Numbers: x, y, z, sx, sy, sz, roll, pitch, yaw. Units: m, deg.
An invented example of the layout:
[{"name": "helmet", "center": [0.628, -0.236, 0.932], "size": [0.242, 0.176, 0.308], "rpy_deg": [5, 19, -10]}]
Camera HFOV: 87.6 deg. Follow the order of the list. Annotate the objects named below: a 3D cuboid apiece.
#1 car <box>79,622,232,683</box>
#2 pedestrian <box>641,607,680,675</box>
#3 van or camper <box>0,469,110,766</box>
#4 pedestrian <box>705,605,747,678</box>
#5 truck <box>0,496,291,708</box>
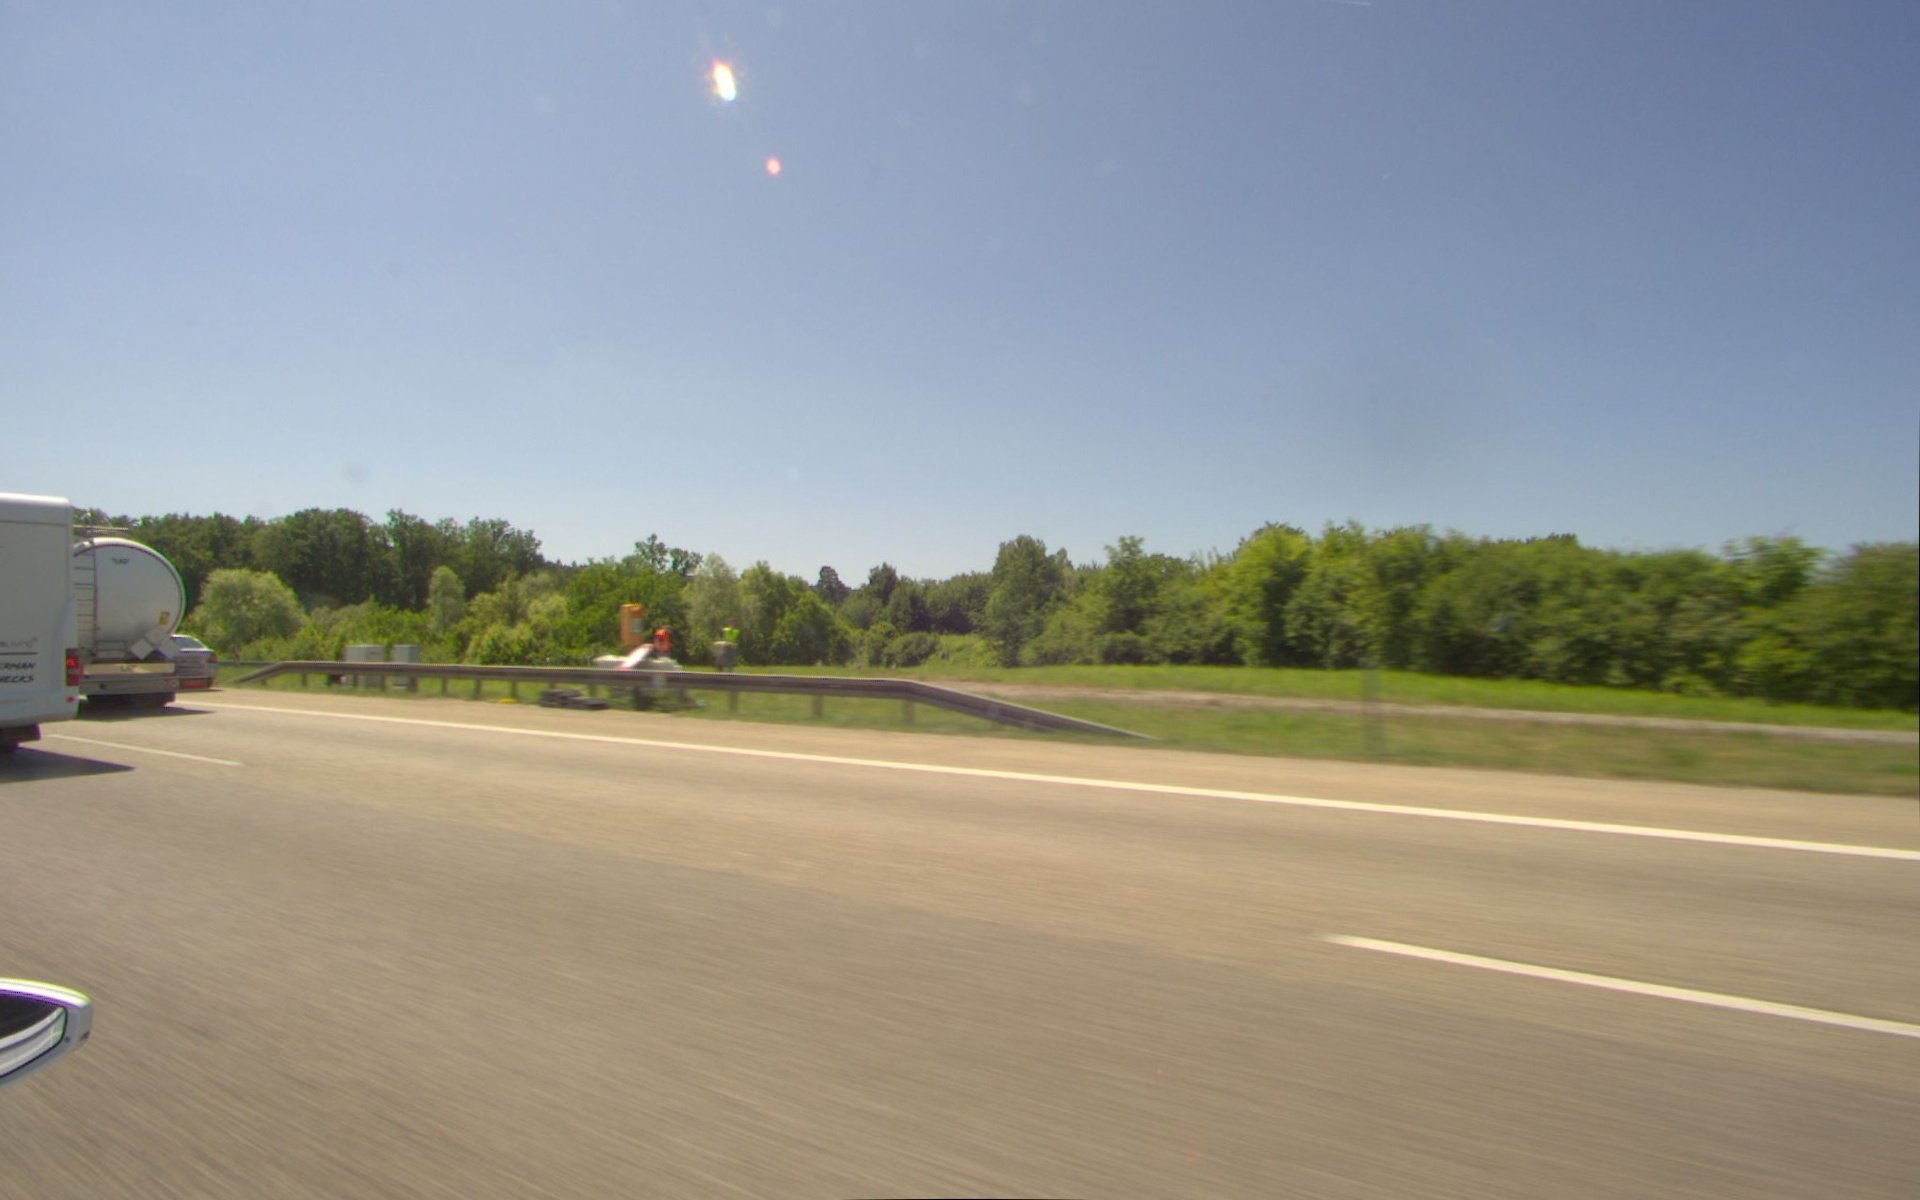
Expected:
[{"name": "car", "center": [-20.926, 1.340, 25.985], "size": [4.700, 1.458, 1.711], "rpy_deg": [-1, -3, 33]}, {"name": "pedestrian", "center": [-9.425, 1.304, 31.521], "size": [0.915, 2.105, 0.687], "rpy_deg": [-1, -4, 33]}, {"name": "van or camper", "center": [-13.286, 0.233, 12.125], "size": [7.079, 3.118, 2.598], "rpy_deg": [-1, -1, 32]}, {"name": "pedestrian", "center": [-6.940, 1.237, 29.672], "size": [0.911, 2.105, 0.690], "rpy_deg": [1, -4, 14]}, {"name": "truck", "center": [-17.403, 0.157, 20.669], "size": [8.407, 3.621, 2.922], "rpy_deg": [-1, -2, 33]}]
